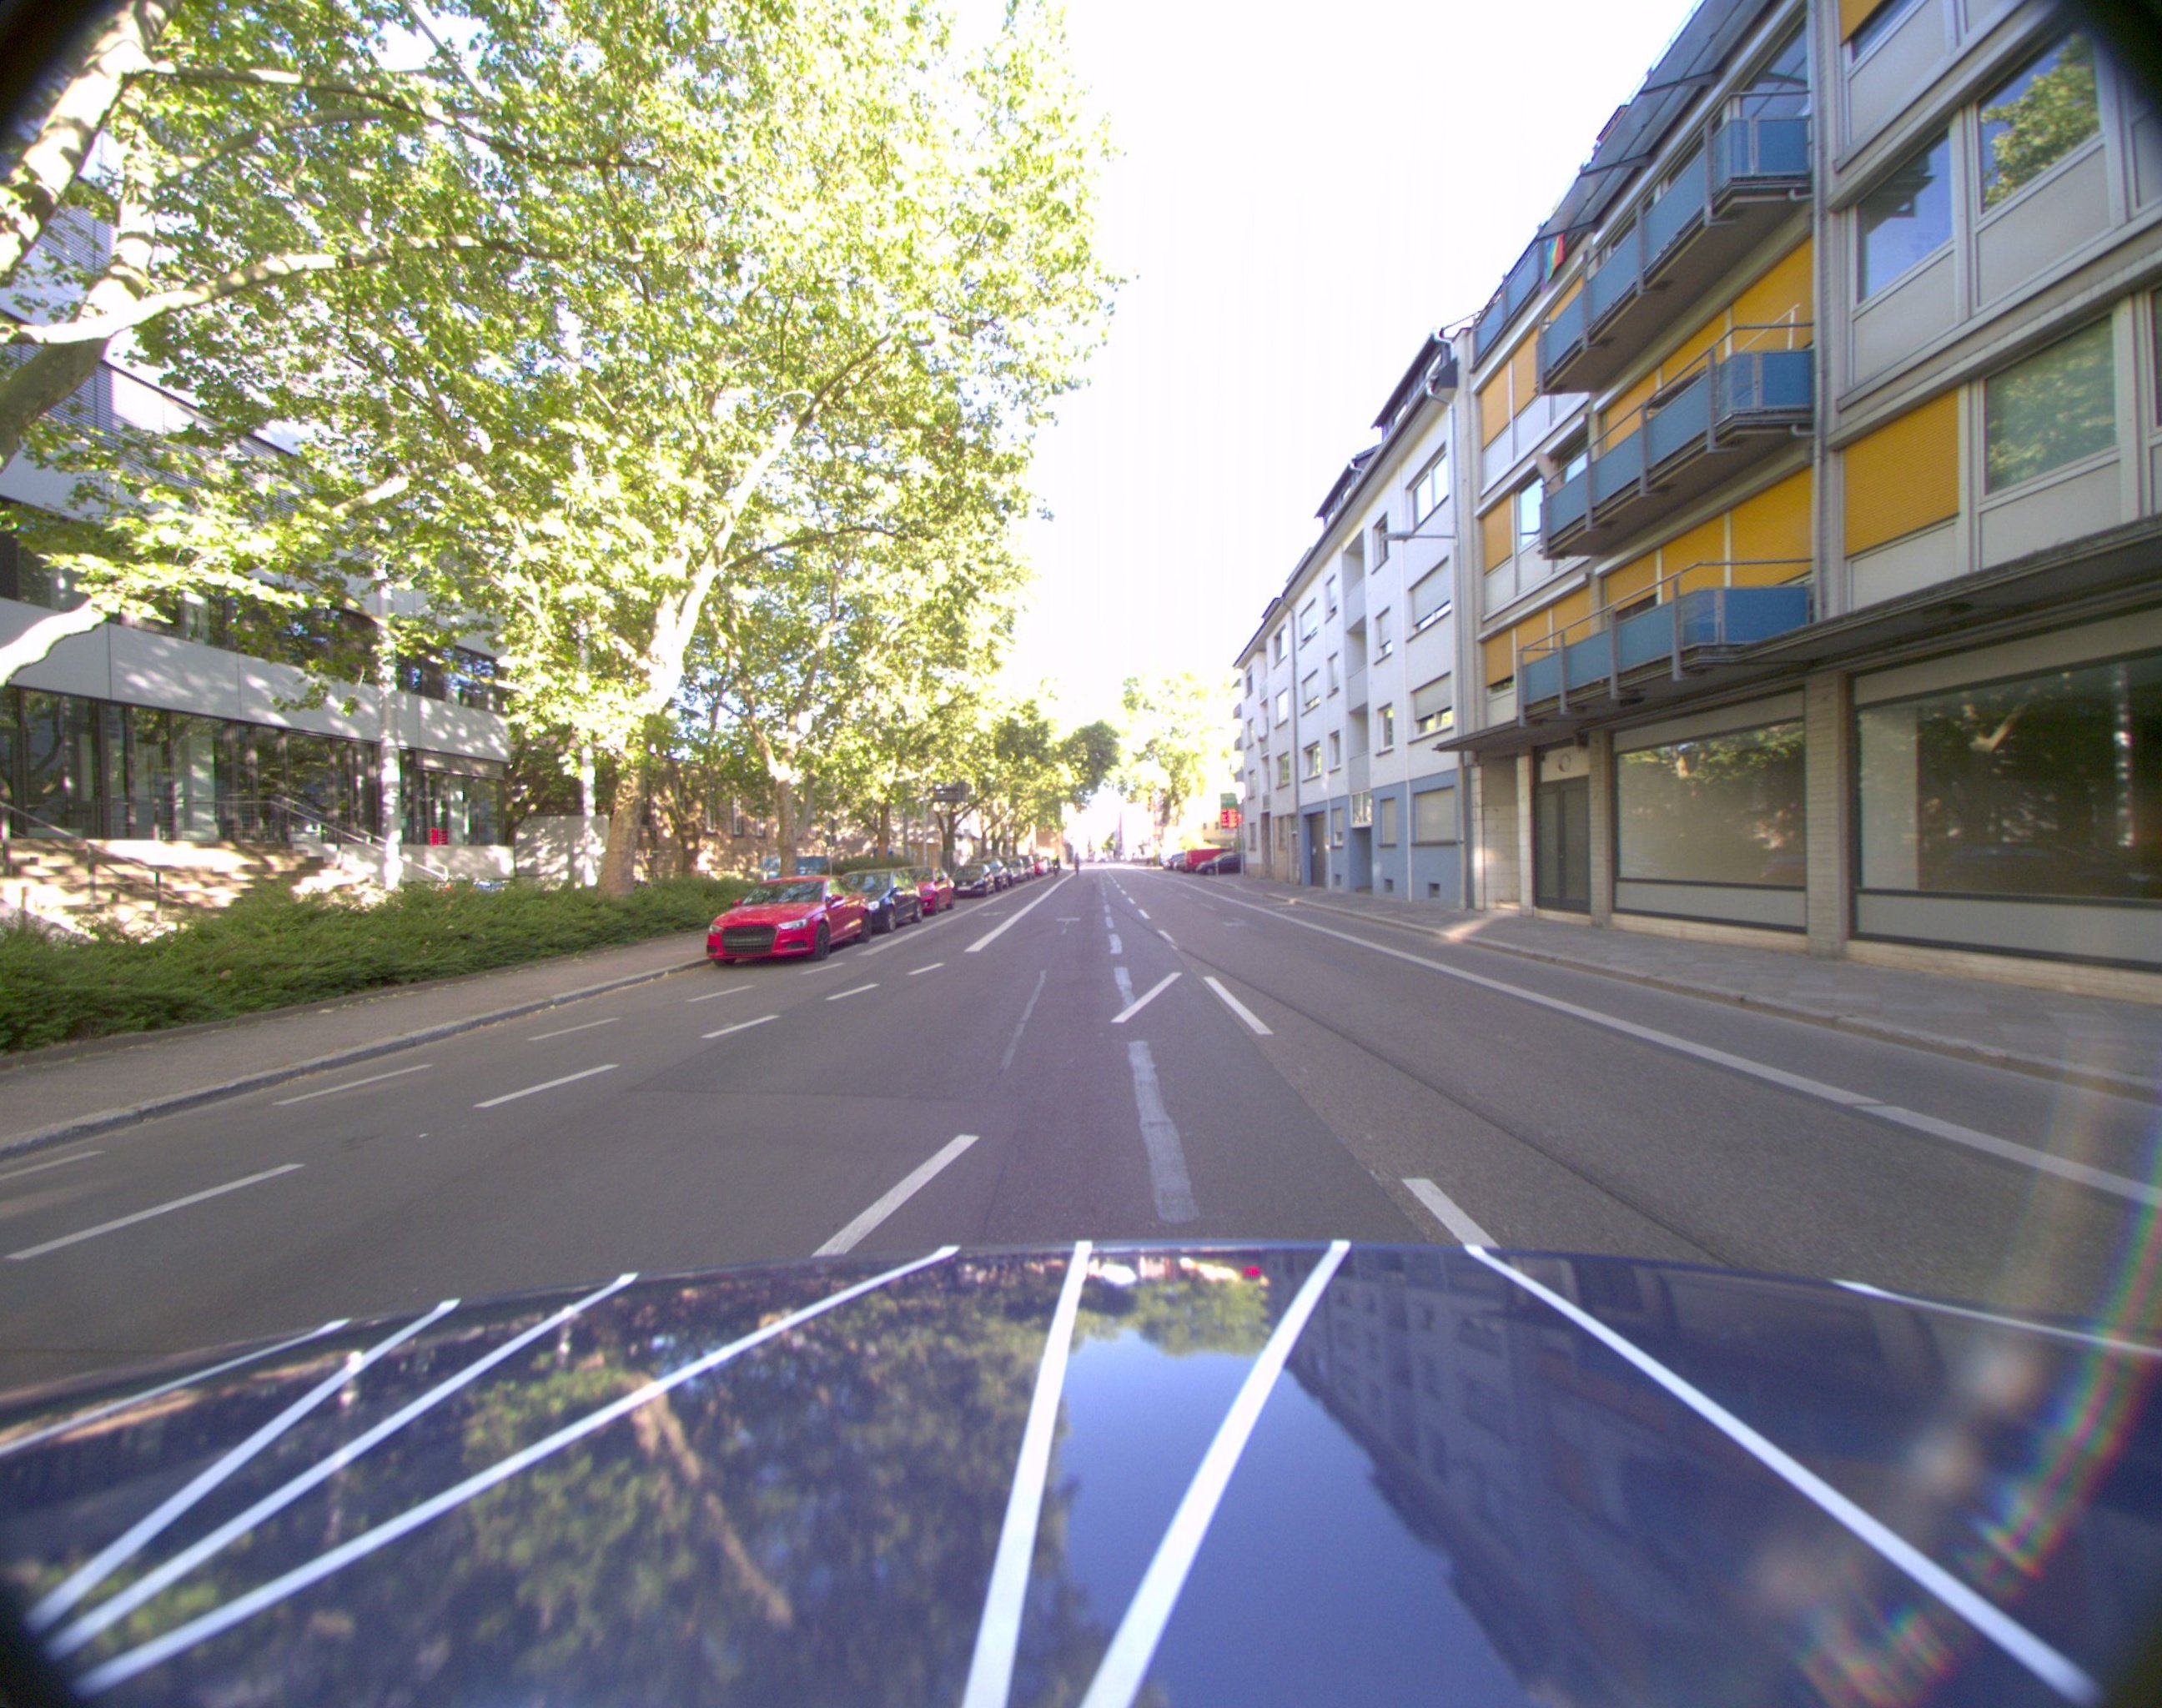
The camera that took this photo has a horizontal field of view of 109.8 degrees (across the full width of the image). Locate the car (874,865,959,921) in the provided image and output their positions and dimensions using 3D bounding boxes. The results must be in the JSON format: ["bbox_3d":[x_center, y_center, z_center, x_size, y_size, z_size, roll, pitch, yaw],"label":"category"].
[{"bbox_3d":[-5.018,1.132,23.689,1.692,1.441,3.923,-2,1,1],"label":"car"}]

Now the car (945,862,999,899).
[{"bbox_3d":[-4.699,1.110,33.241,1.692,1.414,3.923,-2,1,0],"label":"car"}]

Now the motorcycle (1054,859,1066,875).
[{"bbox_3d":[-1.663,1.013,59.711,0.799,1.125,2.236,-2,1,1],"label":"motorcycle"}]

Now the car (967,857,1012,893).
[{"bbox_3d":[-4.524,0.991,38.112,1.634,1.569,4.231,-2,1,0],"label":"car"}]

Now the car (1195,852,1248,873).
[{"bbox_3d":[10.084,0.586,54.734,3.508,1.380,1.490,-2,1,2],"label":"car"}]

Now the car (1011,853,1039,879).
[{"bbox_3d":[-4.044,0.812,55.244,1.634,1.725,3.769,-2,1,0],"label":"car"}]

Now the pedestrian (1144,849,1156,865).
[{"bbox_3d":[7.725,0.379,85.185,0.894,1.727,0.827,-3,1,-41],"label":"pedestrian"}]

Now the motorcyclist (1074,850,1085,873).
[{"bbox_3d":[-0.138,0.595,60.790,0.833,1.778,0.913,-2,1,1],"label":"motorcyclist"}]

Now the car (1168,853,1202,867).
[{"bbox_3d":[10.315,0.576,75.472,3.271,1.238,1.345,-2,1,2],"label":"car"}]

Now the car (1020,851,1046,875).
[{"bbox_3d":[-4.177,0.719,66.096,1.915,1.940,3.769,-2,1,0],"label":"car"}]

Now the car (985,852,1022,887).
[{"bbox_3d":[-4.461,0.852,44.245,1.634,1.781,4.576,-2,1,0],"label":"car"}]

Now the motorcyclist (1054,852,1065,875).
[{"bbox_3d":[-1.678,0.729,59.616,0.719,1.733,0.751,-2,1,1],"label":"motorcyclist"}]

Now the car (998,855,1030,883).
[{"bbox_3d":[-4.360,0.937,50.116,1.634,1.604,4.576,-2,1,0],"label":"car"}]

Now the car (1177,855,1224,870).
[{"bbox_3d":[9.805,0.689,62.593,3.687,1.122,1.345,-2,1,2],"label":"car"}]

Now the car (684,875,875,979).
[{"bbox_3d":[-5.166,1.179,13.662,1.794,1.384,3.999,-2,1,0],"label":"car"}]

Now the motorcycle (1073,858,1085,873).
[{"bbox_3d":[-0.145,0.906,60.636,0.865,1.161,1.929,-2,1,1],"label":"motorcycle"}]

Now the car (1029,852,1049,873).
[{"bbox_3d":[-3.910,0.803,71.007,1.599,1.835,3.769,-2,1,0],"label":"car"}]

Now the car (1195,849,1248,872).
[{"bbox_3d":[10.527,0.480,57.103,3.687,1.503,1.490,-2,1,2],"label":"car"}]

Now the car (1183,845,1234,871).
[{"bbox_3d":[10.054,0.316,59.947,3.688,1.897,1.490,-2,-1,-1],"label":"car"}]

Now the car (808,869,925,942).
[{"bbox_3d":[-5.055,1.162,18.415,1.669,1.410,3.697,-2,1,1],"label":"car"}]

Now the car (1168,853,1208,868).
[{"bbox_3d":[10.260,0.622,73.034,3.687,1.238,1.345,-2,1,2],"label":"car"}]

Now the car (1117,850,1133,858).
[{"bbox_3d":[11.844,-0.020,203.727,4.007,2.002,1.995,-2,1,-39],"label":"car"}]
